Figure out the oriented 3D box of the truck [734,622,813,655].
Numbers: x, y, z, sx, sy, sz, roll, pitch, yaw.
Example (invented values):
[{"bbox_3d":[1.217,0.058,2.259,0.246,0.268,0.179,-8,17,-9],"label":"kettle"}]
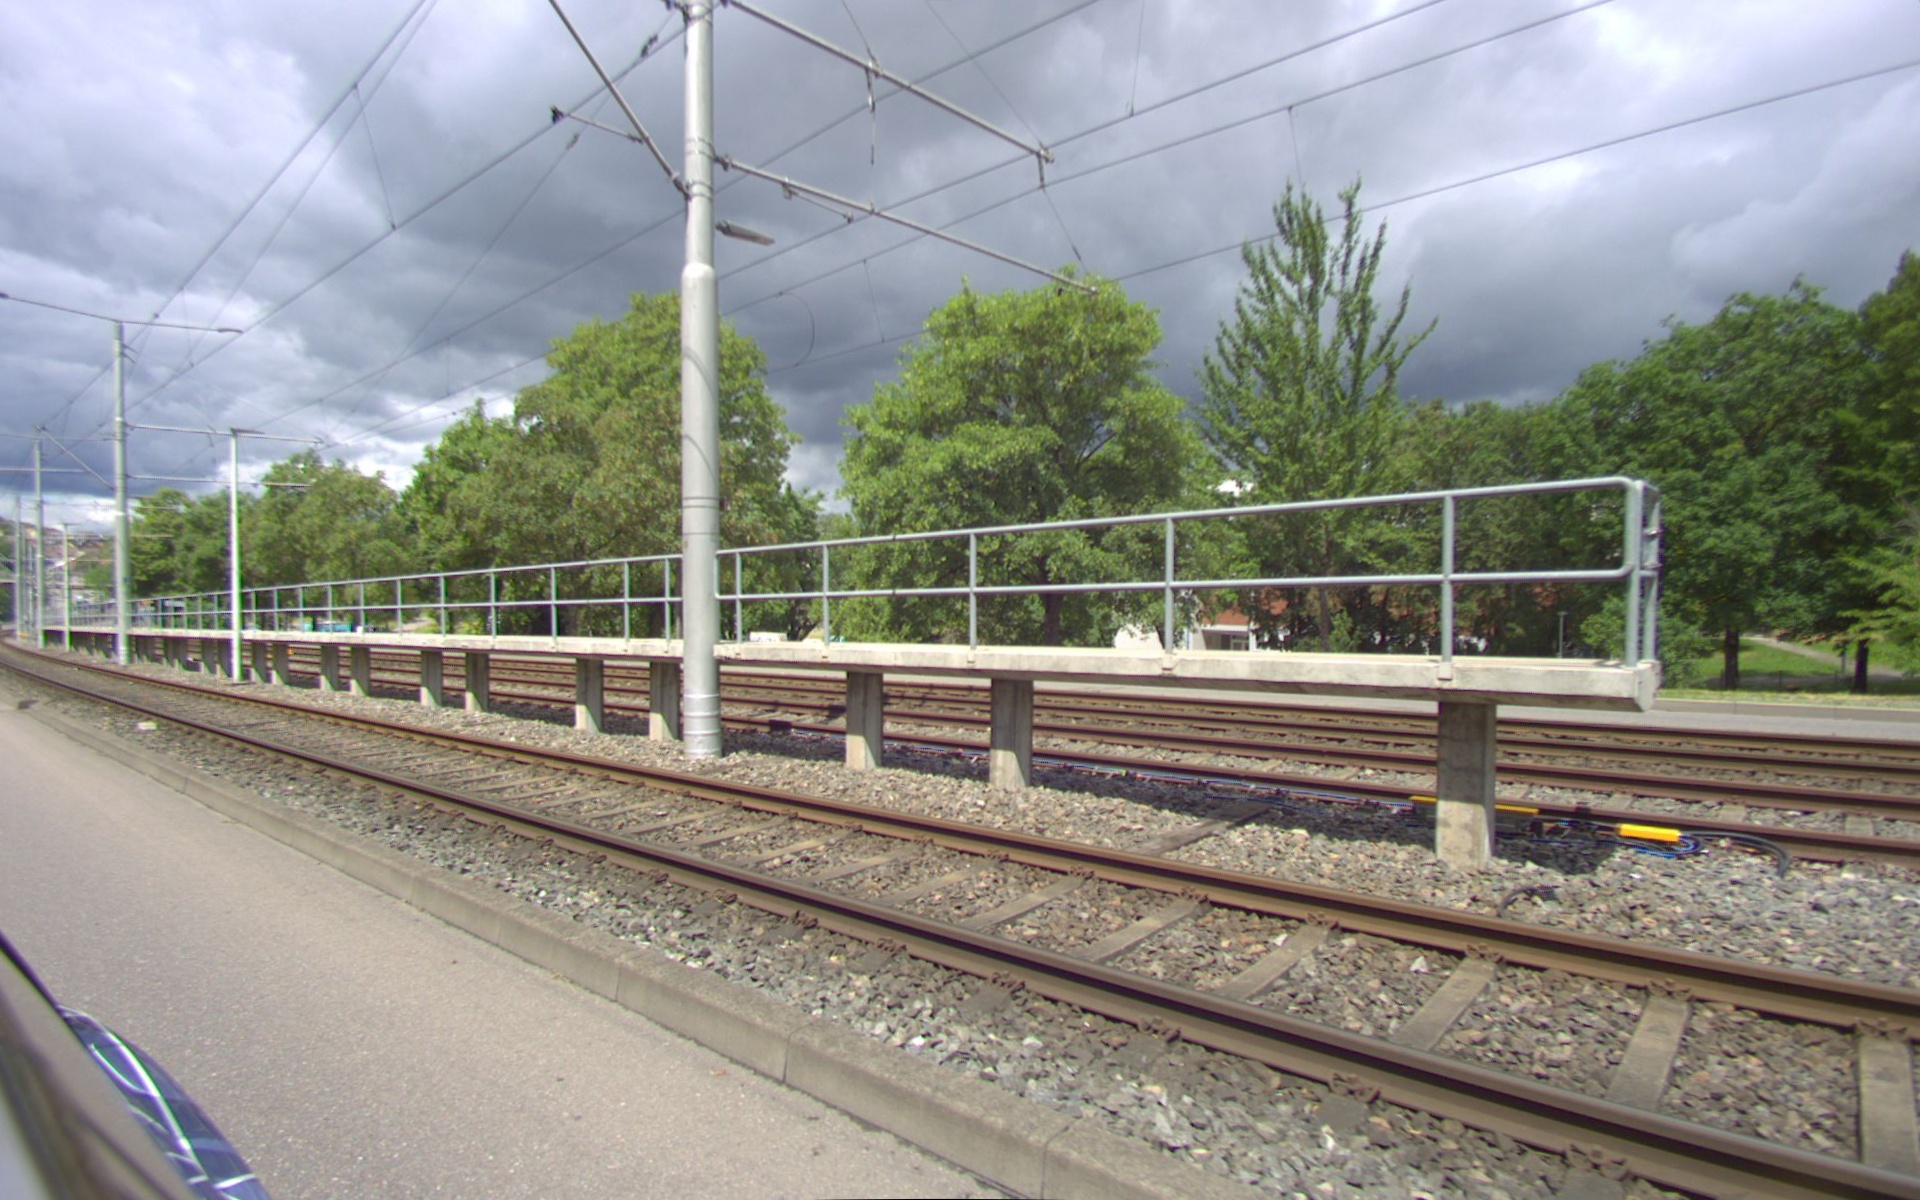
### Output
[{"bbox_3d":[-16.706,3.451,90.981,6.525,2.877,2.681,3,-3,-44],"label":"truck"}]
